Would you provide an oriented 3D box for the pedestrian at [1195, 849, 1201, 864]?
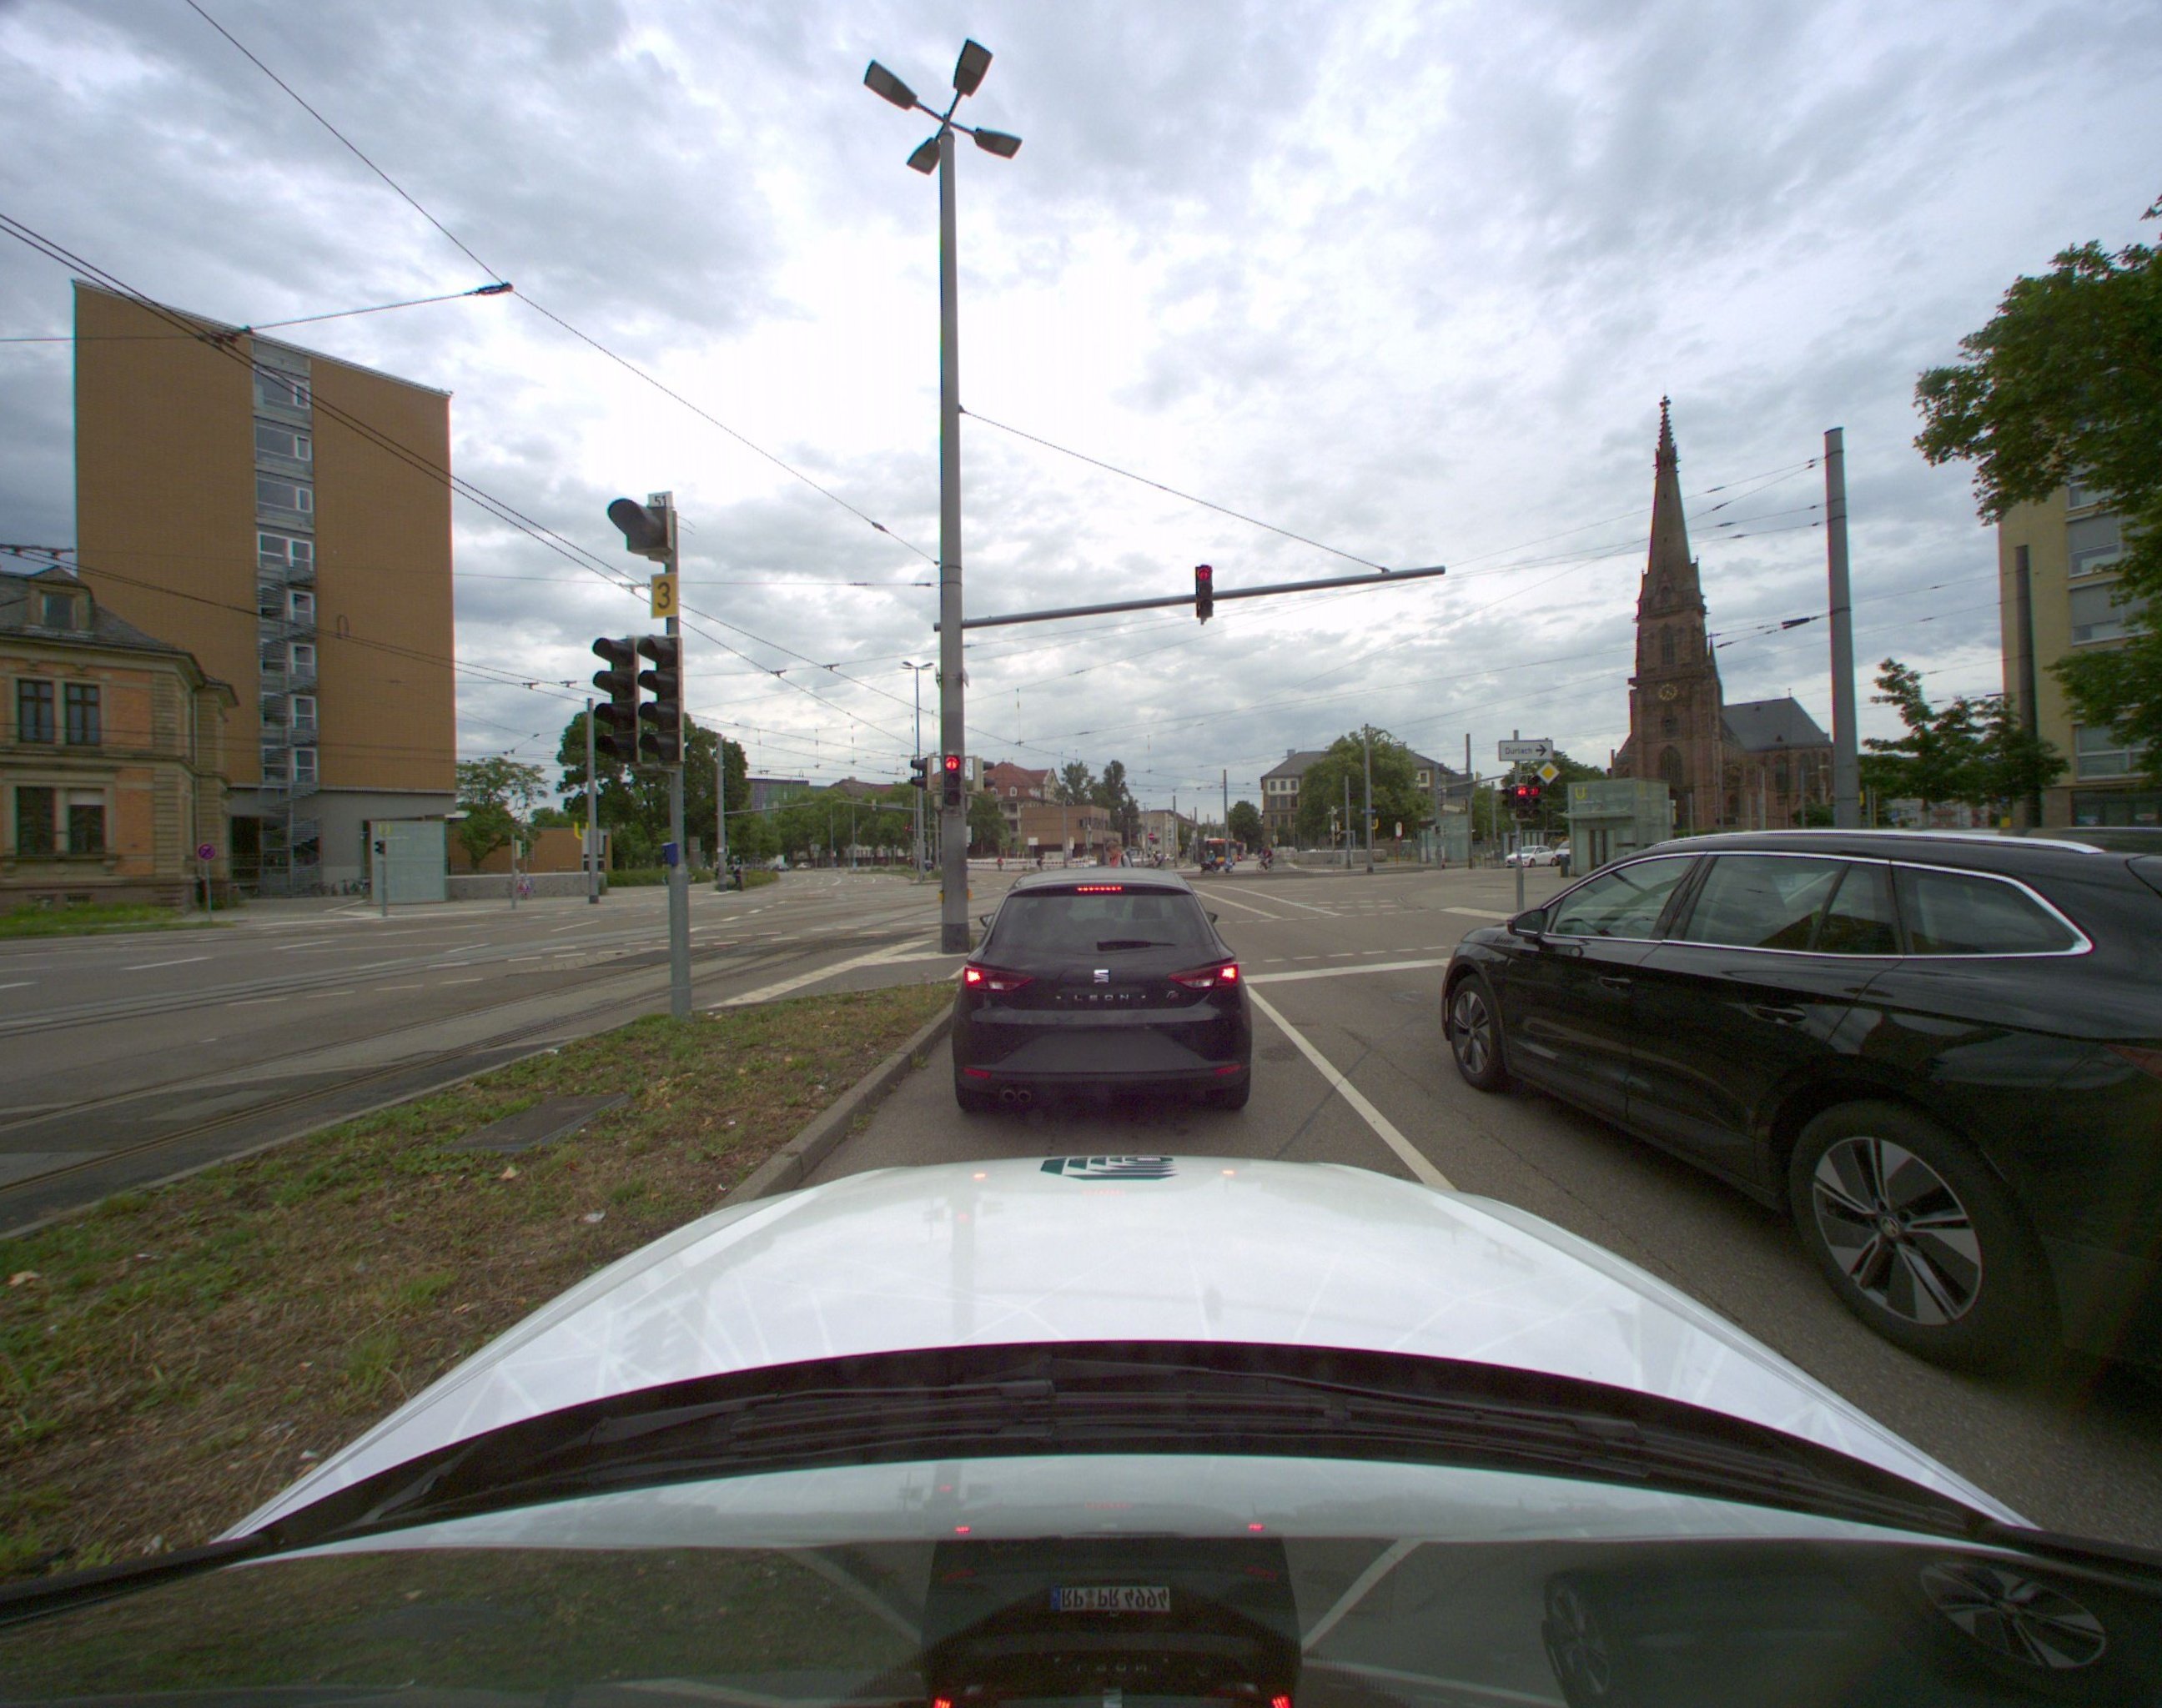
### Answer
[{"bbox_3d":[15.154,0.361,105.389,0.618,1.918,0.711,-2,0,5],"label":"pedestrian"}]

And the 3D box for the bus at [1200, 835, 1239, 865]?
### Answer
[{"bbox_3d":[15.965,-0.440,93.278,2.938,3.123,11.589,-2,0,16],"label":"bus"}]

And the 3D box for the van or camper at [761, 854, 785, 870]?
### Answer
[{"bbox_3d":[-62.824,1.704,166.000,5.434,3.124,2.410,-2,0,43],"label":"van or camper"}]

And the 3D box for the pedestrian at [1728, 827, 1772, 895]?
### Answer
[{"bbox_3d":[19.421,0.203,23.627,0.878,1.930,1.023,-1,0,43],"label":"pedestrian"}]

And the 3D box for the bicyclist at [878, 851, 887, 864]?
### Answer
[{"bbox_3d":[-32.062,0.558,131.776,0.928,2.013,0.984,-2,0,30],"label":"bicyclist"}]

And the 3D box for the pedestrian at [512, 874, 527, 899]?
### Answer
[{"bbox_3d":[-30.773,1.797,44.630,0.492,1.336,0.577,-2,-1,41],"label":"pedestrian"}]

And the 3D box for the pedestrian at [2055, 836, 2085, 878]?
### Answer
[{"bbox_3d":[39.416,0.100,32.445,0.875,1.638,0.631,-1,0,-32],"label":"pedestrian"}]

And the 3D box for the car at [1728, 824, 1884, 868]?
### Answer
[{"bbox_3d":[37.656,-0.394,42.521,5.672,2.014,2.038,-2,-2,19],"label":"car"}]

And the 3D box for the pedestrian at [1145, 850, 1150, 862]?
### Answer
[{"bbox_3d":[11.543,0.349,141.024,0.615,1.918,0.715,-3,-2,27],"label":"pedestrian"}]

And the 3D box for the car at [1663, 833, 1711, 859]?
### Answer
[{"bbox_3d":[49.706,-0.637,66.757,4.017,2.013,1.978,-1,0,-36],"label":"car"}]

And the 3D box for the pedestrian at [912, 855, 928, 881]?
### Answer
[{"bbox_3d":[-12.109,1.061,61.338,1.032,1.934,0.695,-2,0,-24],"label":"pedestrian"}]

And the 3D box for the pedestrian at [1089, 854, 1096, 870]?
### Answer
[{"bbox_3d":[1.349,0.927,96.734,0.704,1.918,0.625,-2,0,9],"label":"pedestrian"}]

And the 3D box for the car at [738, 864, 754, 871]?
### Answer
[{"bbox_3d":[-73.817,3.064,179.409,3.949,1.464,1.792,-1,0,43],"label":"car"}]

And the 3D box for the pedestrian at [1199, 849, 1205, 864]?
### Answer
[{"bbox_3d":[15.504,0.329,104.315,0.617,1.918,0.701,-2,0,11],"label":"pedestrian"}]

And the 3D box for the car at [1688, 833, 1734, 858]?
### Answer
[{"bbox_3d":[53.569,-0.730,69.194,4.017,2.013,1.978,-1,0,-36],"label":"car"}]

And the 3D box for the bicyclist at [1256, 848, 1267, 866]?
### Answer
[{"bbox_3d":[19.339,0.335,87.133,0.869,1.851,1.046,-1,0,-4],"label":"bicyclist"}]

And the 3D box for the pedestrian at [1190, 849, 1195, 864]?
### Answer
[{"bbox_3d":[14.226,0.366,103.881,0.617,1.918,0.701,-2,0,11],"label":"pedestrian"}]

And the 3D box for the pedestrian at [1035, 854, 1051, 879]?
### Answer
[{"bbox_3d":[-3.088,1.019,66.400,0.692,1.934,1.037,-2,0,40],"label":"pedestrian"}]

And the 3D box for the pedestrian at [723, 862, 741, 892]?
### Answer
[{"bbox_3d":[-24.719,1.616,57.645,1.023,2.013,0.841,-1,0,-18],"label":"pedestrian"}]

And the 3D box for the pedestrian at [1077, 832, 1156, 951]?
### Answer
[{"bbox_3d":[0.597,0.601,13.732,1.110,1.907,0.727,0,-1,-41],"label":"pedestrian"}]

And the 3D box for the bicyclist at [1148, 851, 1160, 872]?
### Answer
[{"bbox_3d":[5.759,0.594,64.278,0.852,1.673,0.653,-1,0,-5],"label":"bicyclist"}]

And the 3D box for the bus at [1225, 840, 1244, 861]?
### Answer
[{"bbox_3d":[25.733,-0.607,136.288,2.635,3.283,11.034,-2,0,13],"label":"bus"}]

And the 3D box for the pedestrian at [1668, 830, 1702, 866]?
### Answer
[{"bbox_3d":[31.178,-0.285,42.039,0.950,1.797,1.076,-1,-2,-32],"label":"pedestrian"}]

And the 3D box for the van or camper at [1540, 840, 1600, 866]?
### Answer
[{"bbox_3d":[35.272,-0.092,58.683,4.321,1.742,1.979,-1,-2,-34],"label":"van or camper"}]

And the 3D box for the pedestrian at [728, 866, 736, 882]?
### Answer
[{"bbox_3d":[-44.932,2.555,104.922,0.880,1.981,0.791,-1,-2,-17],"label":"pedestrian"}]

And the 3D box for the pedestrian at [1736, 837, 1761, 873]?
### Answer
[{"bbox_3d":[31.115,0.040,37.975,0.875,1.638,0.631,-1,0,-32],"label":"pedestrian"}]

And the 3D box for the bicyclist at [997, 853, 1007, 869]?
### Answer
[{"bbox_3d":[-8.591,0.787,88.219,0.886,1.732,0.888,-1,0,-20],"label":"bicyclist"}]

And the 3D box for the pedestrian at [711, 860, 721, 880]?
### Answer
[{"bbox_3d":[-36.653,1.632,81.724,0.799,1.981,0.872,-1,-2,-33],"label":"pedestrian"}]

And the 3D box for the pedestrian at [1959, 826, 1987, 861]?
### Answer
[{"bbox_3d":[41.888,-0.476,38.231,0.640,1.638,0.778,-1,0,-35],"label":"pedestrian"}]

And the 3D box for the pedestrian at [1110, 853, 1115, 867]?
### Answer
[{"bbox_3d":[4.348,0.799,111.714,0.618,1.918,0.711,-2,0,5],"label":"pedestrian"}]

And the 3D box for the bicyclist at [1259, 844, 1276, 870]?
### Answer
[{"bbox_3d":[13.851,0.240,60.601,1.003,1.898,0.768,-1,-1,-44],"label":"bicyclist"}]
